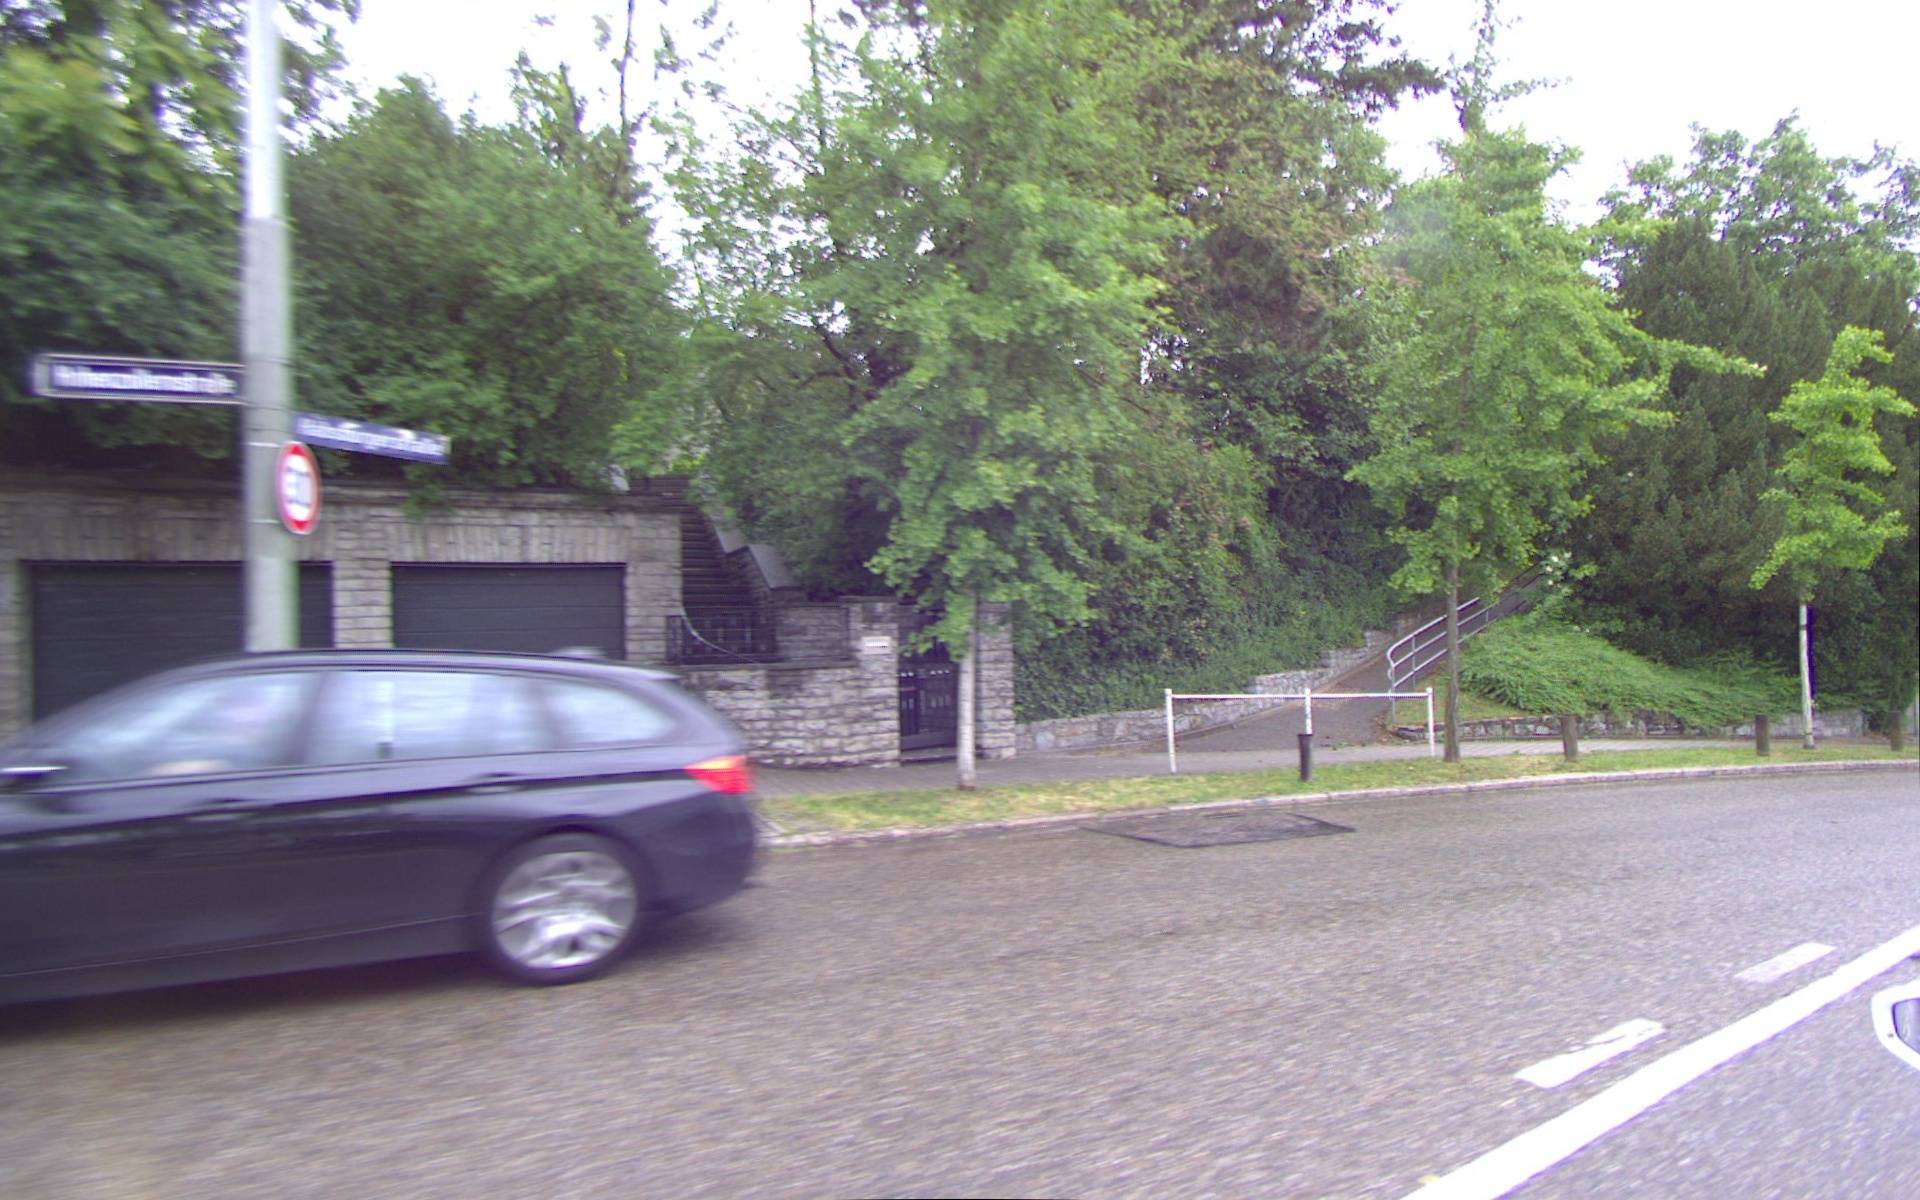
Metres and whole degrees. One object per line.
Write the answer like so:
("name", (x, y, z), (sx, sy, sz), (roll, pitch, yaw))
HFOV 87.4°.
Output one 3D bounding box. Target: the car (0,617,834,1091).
("car", (-3.035, 0.989, 4.624), (4.524, 1.604, 1.907), (3, -7, -25))
